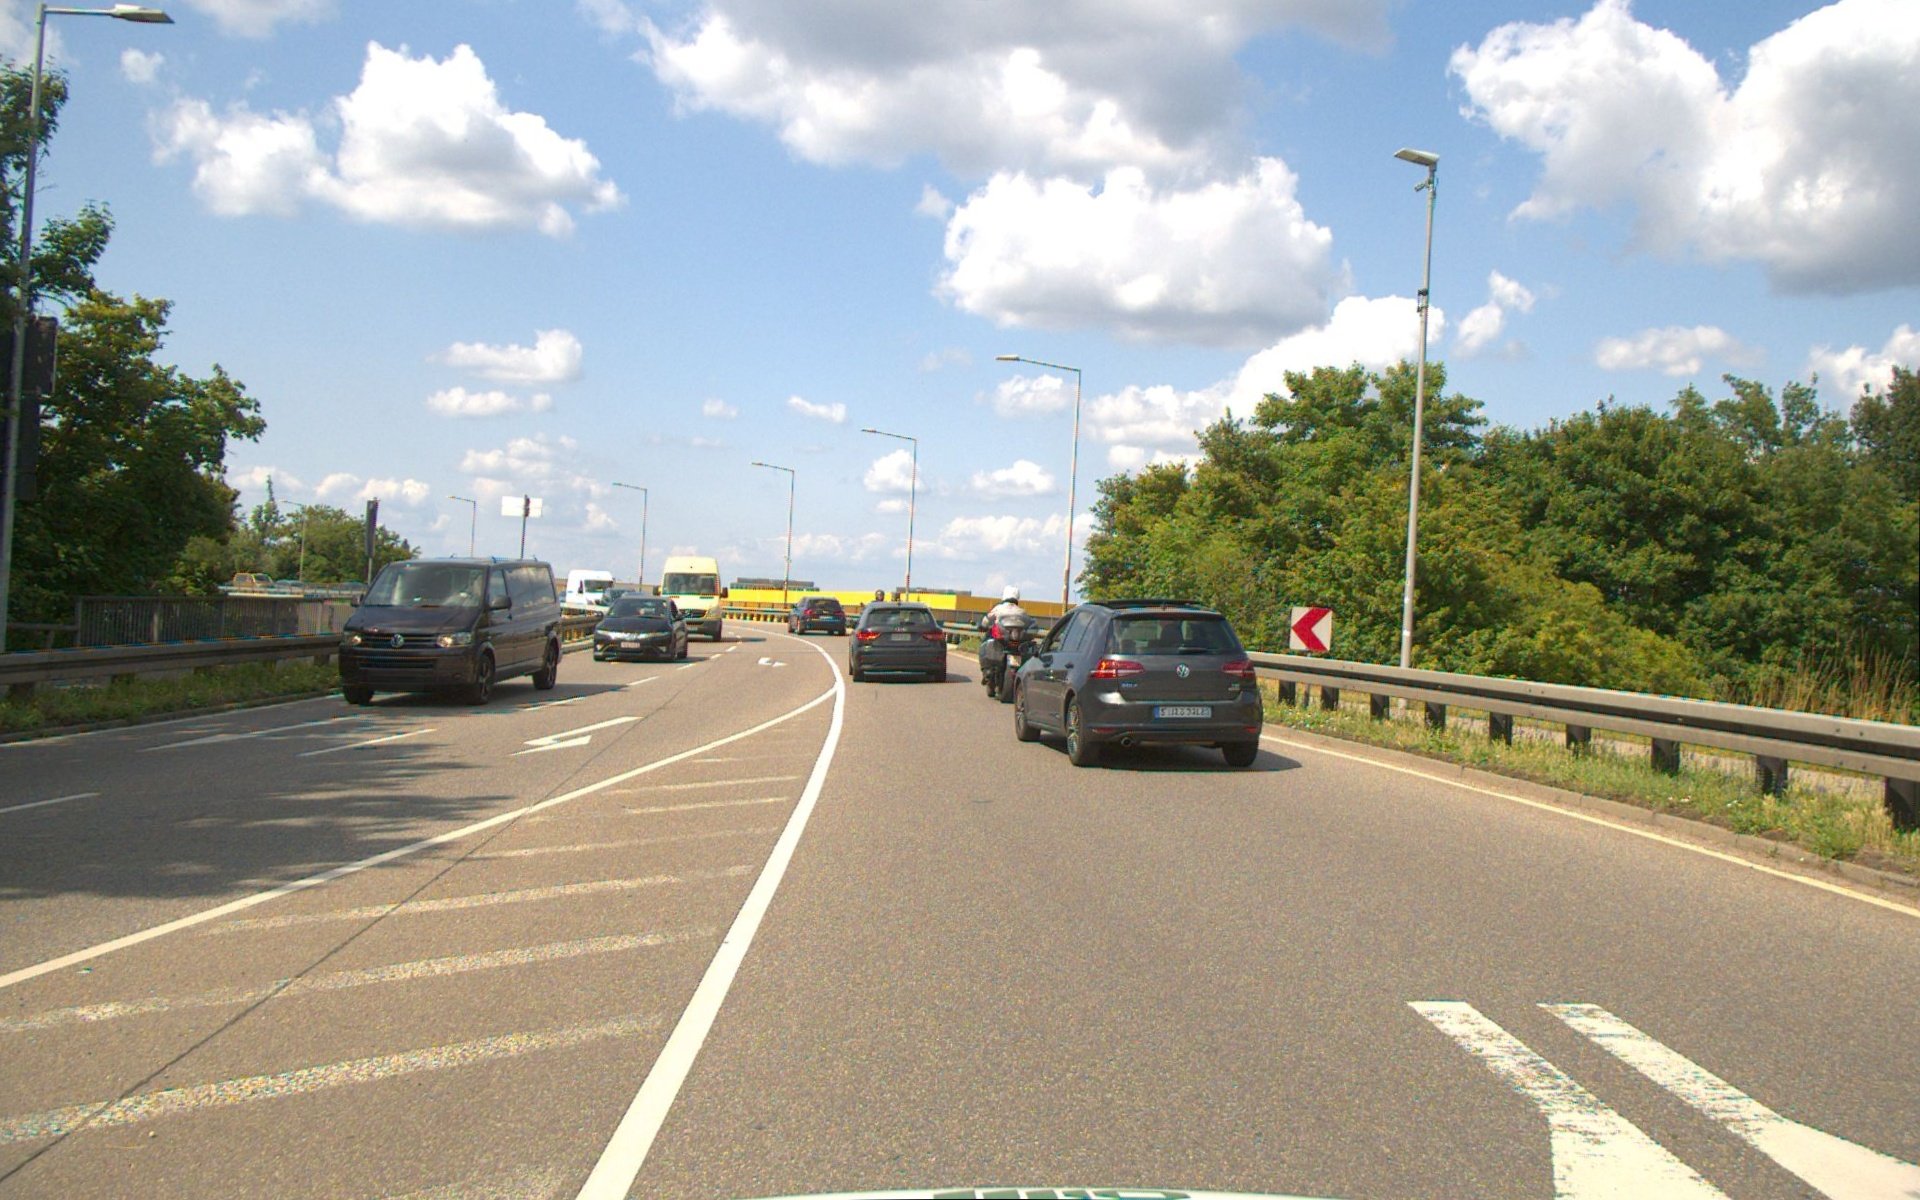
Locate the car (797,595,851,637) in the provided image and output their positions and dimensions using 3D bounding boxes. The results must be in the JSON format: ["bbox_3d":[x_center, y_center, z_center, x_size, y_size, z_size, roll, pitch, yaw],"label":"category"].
[{"bbox_3d":[-5.299,0.609,63.950,1.613,1.505,3.861,2,-1,-12],"label":"car"}]

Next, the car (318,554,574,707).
[{"bbox_3d":[-7.190,0.381,23.757,1.952,1.947,5.133,0,0,1],"label":"car"}]

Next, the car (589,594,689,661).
[{"bbox_3d":[-7.223,0.586,37.547,1.763,1.413,4.003,1,0,-4],"label":"car"}]

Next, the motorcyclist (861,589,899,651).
[{"bbox_3d":[-2.189,0.544,45.049,0.947,1.624,1.123,2,-1,-5],"label":"motorcyclist"}]

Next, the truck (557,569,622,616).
[{"bbox_3d":[-20.871,-0.423,92.944,1.972,2.551,5.889,1,0,-29],"label":"truck"}]

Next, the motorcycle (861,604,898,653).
[{"bbox_3d":[-2.208,0.752,45.137,0.870,1.269,2.396,2,0,-6],"label":"motorcycle"}]

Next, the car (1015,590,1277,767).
[{"bbox_3d":[1.681,0.695,16.211,1.611,1.505,3.865,2,-1,-8],"label":"car"}]

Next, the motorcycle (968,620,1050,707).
[{"bbox_3d":[0.692,0.902,24.306,0.774,1.152,2.394,2,0,-8],"label":"motorcycle"}]

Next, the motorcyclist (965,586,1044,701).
[{"bbox_3d":[0.648,0.632,24.527,0.948,1.648,1.123,2,-1,-8],"label":"motorcyclist"}]

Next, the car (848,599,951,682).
[{"bbox_3d":[-1.162,0.736,30.428,1.649,1.412,3.734,1,-1,-6],"label":"car"}]

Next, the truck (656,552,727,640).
[{"bbox_3d":[-8.678,-0.156,53.110,1.958,2.666,6.086,0,0,-12],"label":"truck"}]
